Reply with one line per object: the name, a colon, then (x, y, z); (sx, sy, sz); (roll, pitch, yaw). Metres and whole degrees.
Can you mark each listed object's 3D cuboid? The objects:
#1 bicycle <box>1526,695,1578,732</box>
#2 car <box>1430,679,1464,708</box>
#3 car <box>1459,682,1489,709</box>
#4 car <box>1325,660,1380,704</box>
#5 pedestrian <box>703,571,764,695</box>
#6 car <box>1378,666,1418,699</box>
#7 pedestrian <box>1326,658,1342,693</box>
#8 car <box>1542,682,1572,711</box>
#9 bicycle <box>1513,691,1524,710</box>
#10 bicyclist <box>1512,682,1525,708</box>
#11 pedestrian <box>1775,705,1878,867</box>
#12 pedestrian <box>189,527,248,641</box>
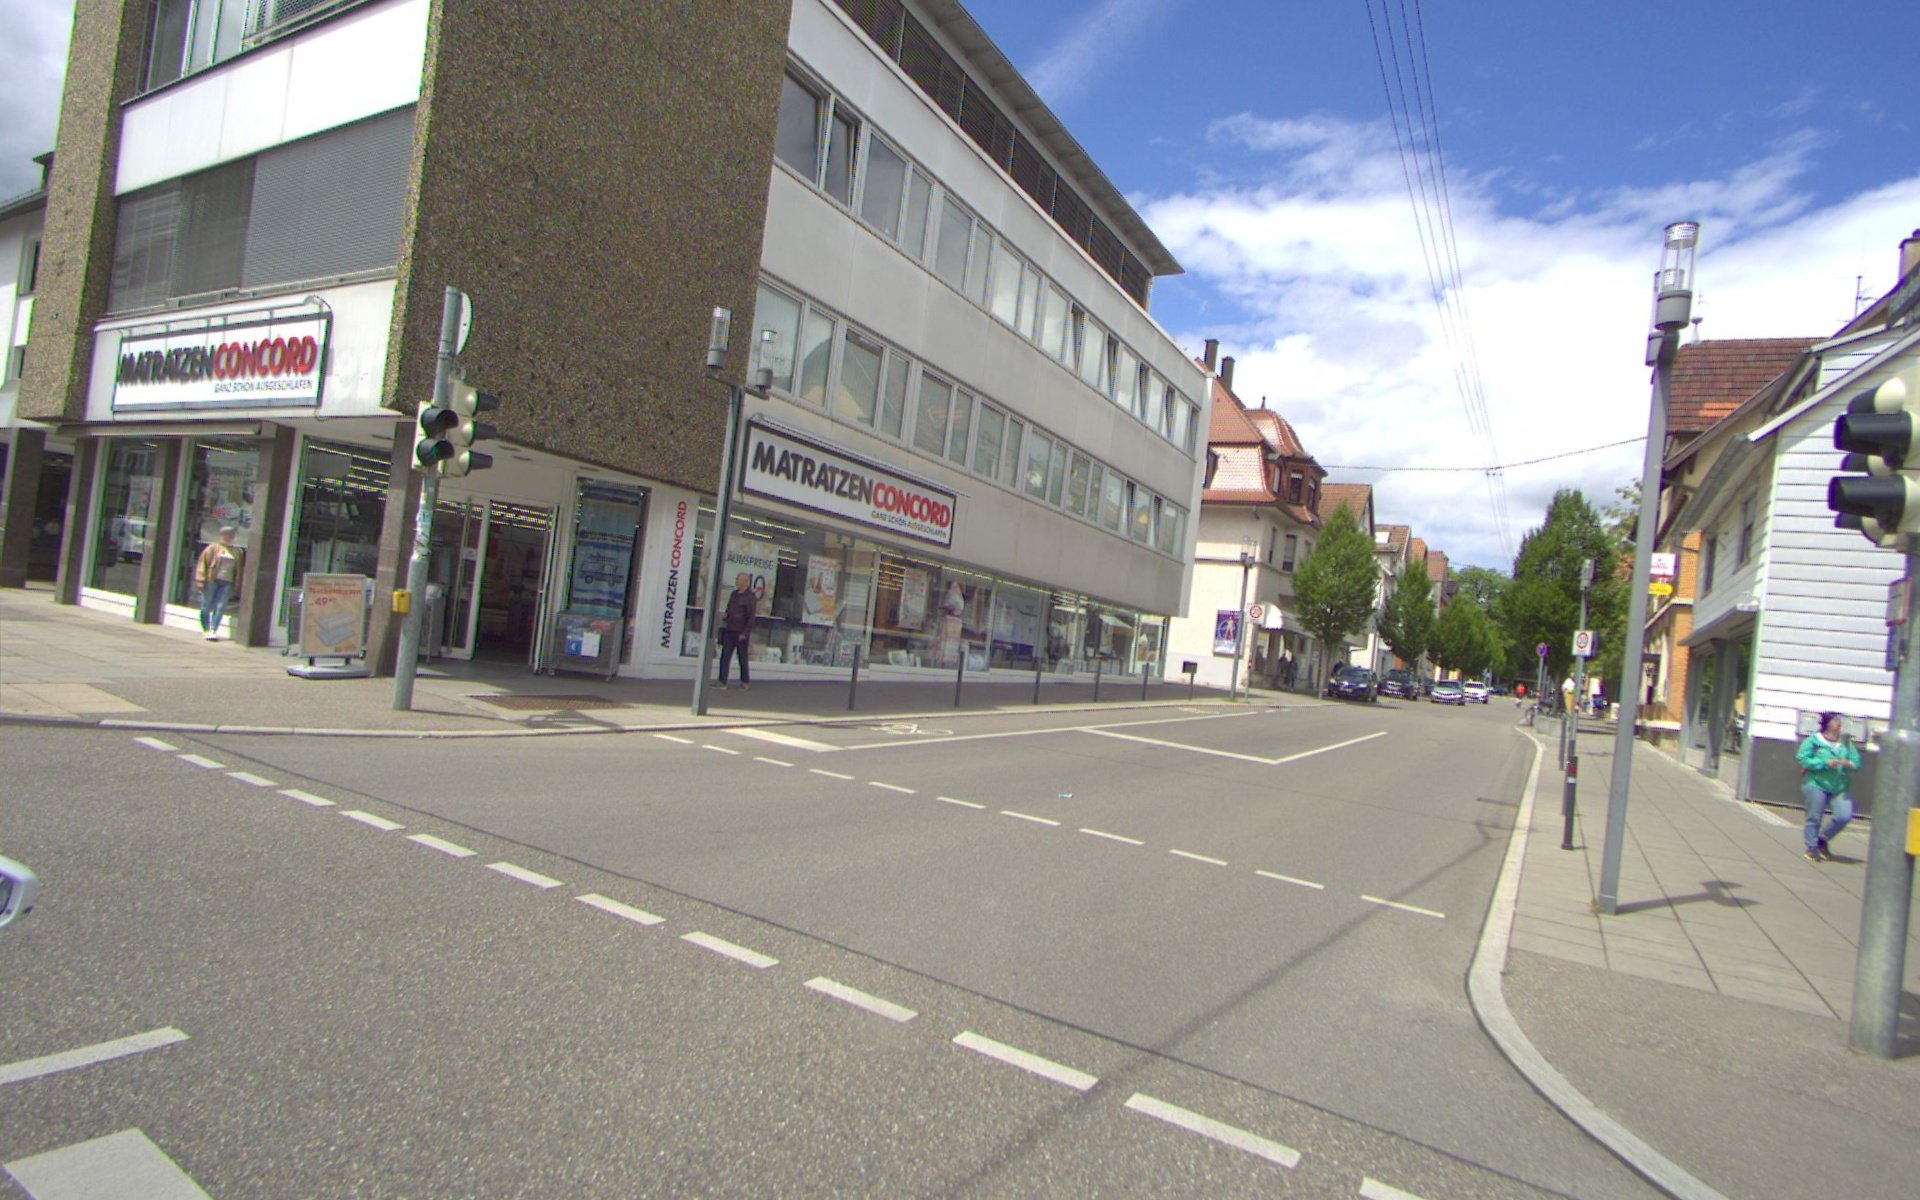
bicycle: (23.629, 4.530, 40.196); (1.689, 1.234, 0.561); (5, -3, 31)
car: (28.903, 5.571, 59.664); (1.676, 1.413, 4.000); (5, -4, 27)
car: (37.432, 6.988, 73.269); (1.794, 1.669, 4.000); (5, -4, 27)
car: (17.913, 3.755, 45.804); (1.794, 1.669, 4.000); (5, -4, 27)
pedestrian: (-3.310, 0.477, 14.729); (0.608, 1.728, 0.580); (6, 2, -1)
car: (25.870, 4.890, 59.309); (1.794, 1.669, 4.000); (5, -4, 27)
pedestrian: (19.067, 3.838, 51.226); (0.569, 1.728, 0.619); (7, 2, 22)
car: (43.255, 7.003, 72.870); (1.652, 1.817, 3.812); (5, -4, 32)
bicycle: (40.337, 7.254, 72.636); (0.552, 1.233, 1.716); (5, -3, 31)
bicyclist: (40.305, 6.863, 72.585); (0.681, 1.781, 0.944); (5, -3, 31)
pedestrian: (9.125, 1.931, 10.616); (0.518, 1.577, 0.590); (6, -2, 15)
pedestrian: (-10.014, -0.211, 13.588); (0.493, 1.478, 0.502); (6, 2, 45)
